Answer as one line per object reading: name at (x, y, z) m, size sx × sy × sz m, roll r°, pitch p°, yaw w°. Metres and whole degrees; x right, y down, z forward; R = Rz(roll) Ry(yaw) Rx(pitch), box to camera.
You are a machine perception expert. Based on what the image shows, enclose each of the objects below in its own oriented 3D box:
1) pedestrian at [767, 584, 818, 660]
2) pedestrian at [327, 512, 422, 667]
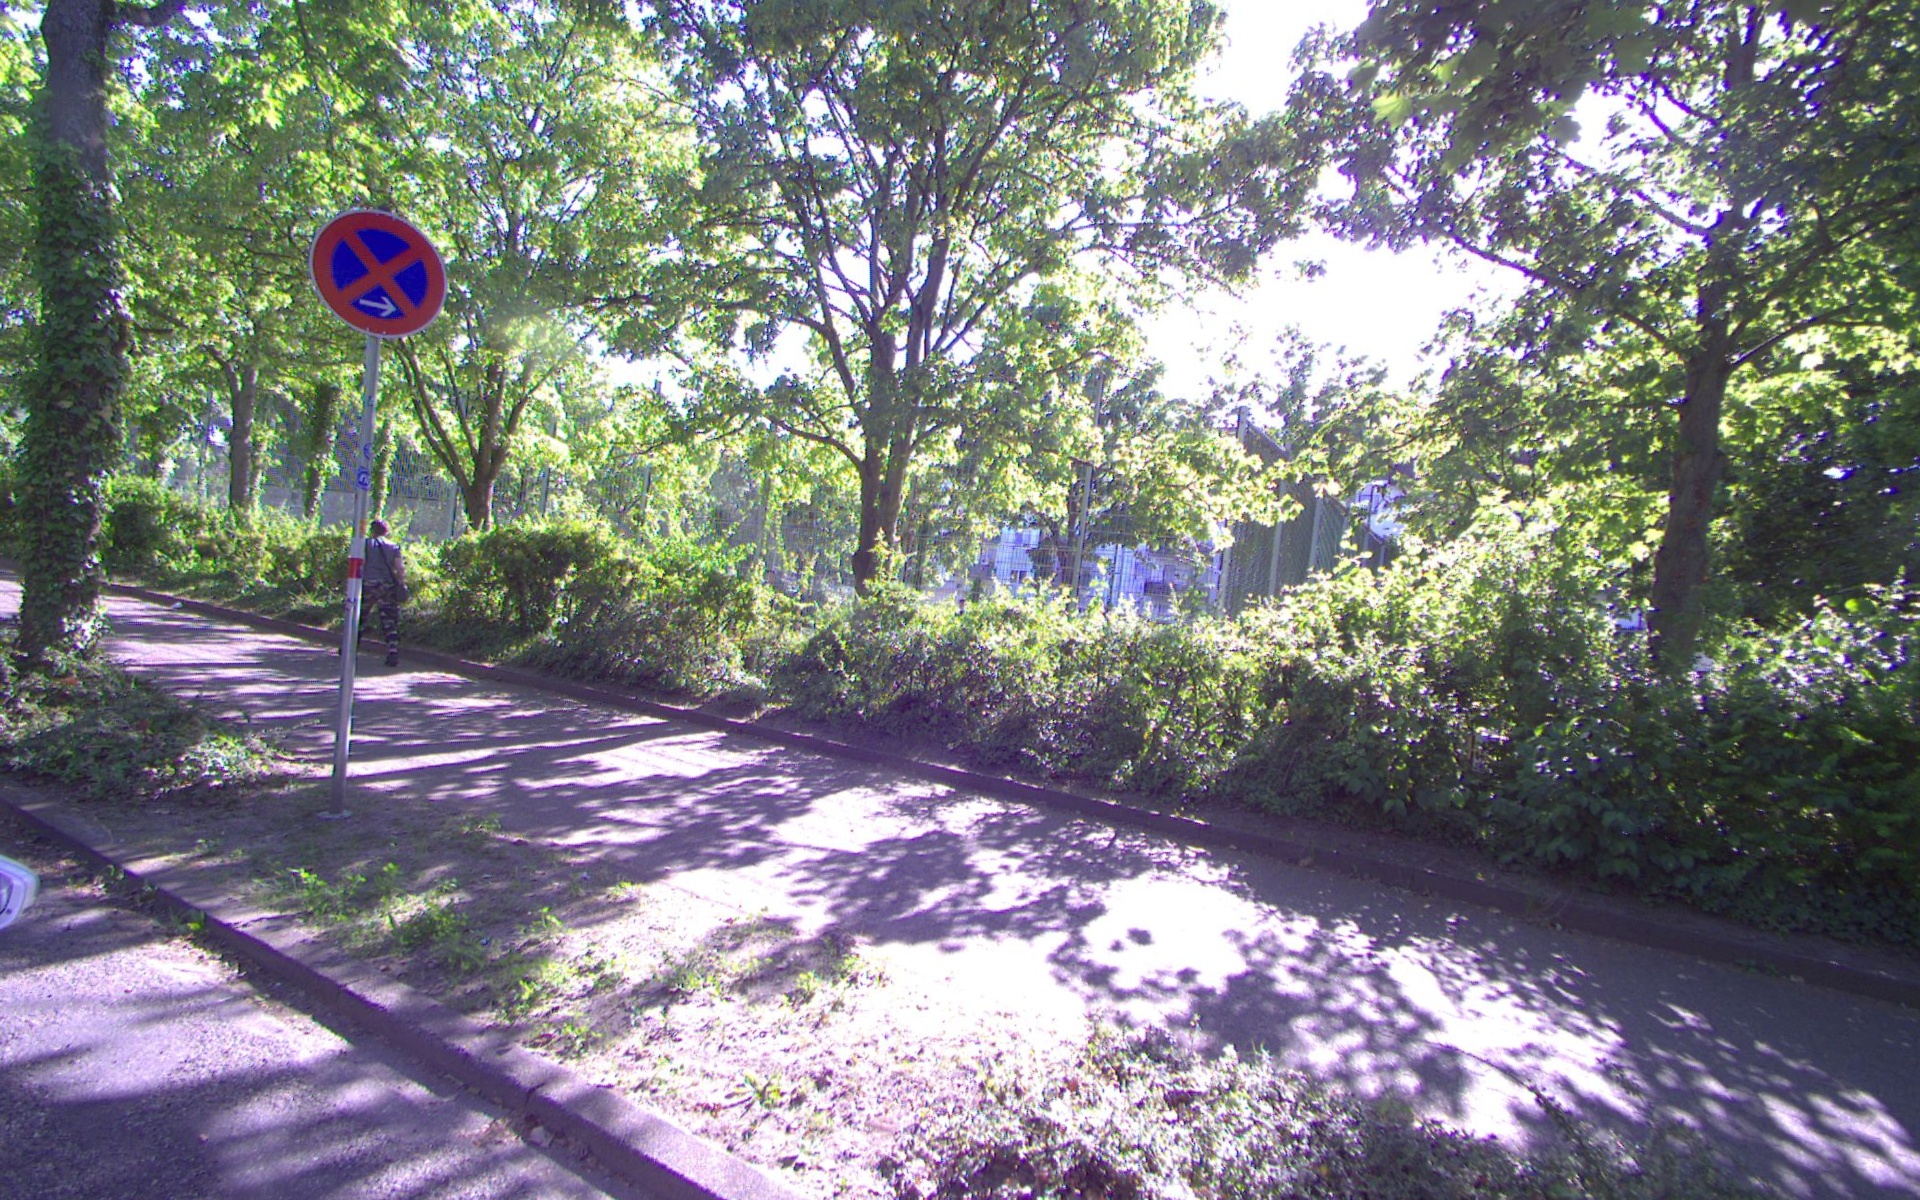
pedestrian at (-2.973, 0.395, 17.863) m, size 0.558 × 1.254 × 0.539 m, roll 9°, pitch -2°, yaw -39°
pedestrian at (-6.533, -0.111, 11.226) m, size 0.661 × 1.627 × 0.571 m, roll 7°, pitch 0°, yaw 40°
